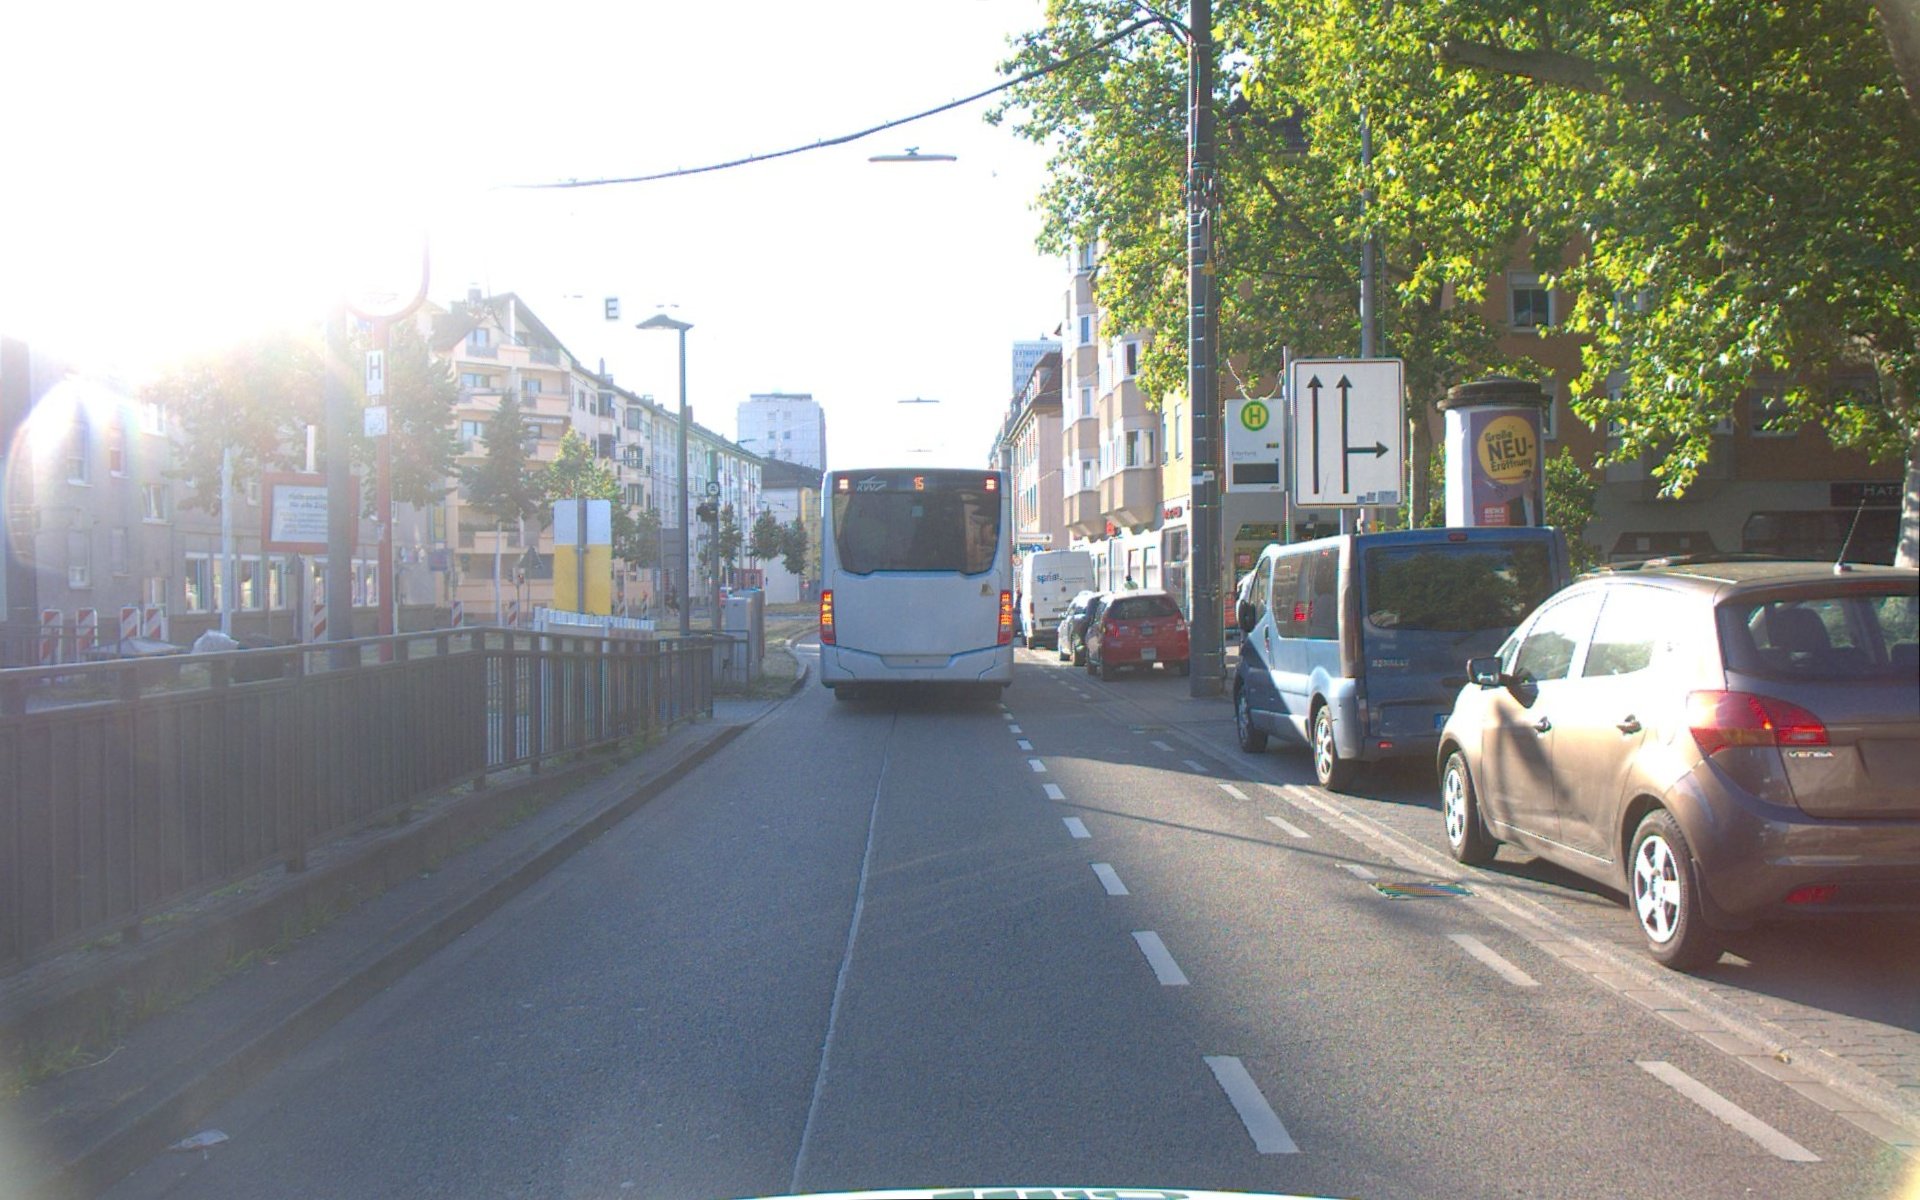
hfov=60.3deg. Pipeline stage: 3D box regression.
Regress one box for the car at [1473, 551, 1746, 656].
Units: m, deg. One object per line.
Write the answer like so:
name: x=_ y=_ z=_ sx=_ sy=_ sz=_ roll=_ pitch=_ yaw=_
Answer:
car: x=11.124 y=0.055 z=28.493 sx=3.941 sy=1.628 sz=1.855 roll=2 pitch=0 yaw=-3

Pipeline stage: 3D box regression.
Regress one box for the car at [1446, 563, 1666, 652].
car: x=11.082 y=0.129 z=30.916 sx=3.427 sy=1.508 sz=1.773 roll=2 pitch=0 yaw=-3

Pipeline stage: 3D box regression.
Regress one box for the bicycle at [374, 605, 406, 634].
bicycle: x=-23.760 y=0.808 z=68.954 sx=0.731 sy=1.134 sz=1.778 roll=-1 pitch=0 yaw=-1

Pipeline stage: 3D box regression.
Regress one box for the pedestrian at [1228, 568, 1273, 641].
pedestrian: x=6.829 y=0.097 z=38.925 sx=0.647 sy=1.664 sz=0.988 roll=-4 pitch=1 yaw=-8

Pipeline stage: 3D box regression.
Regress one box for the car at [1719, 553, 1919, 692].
car: x=11.313 y=0.210 z=19.354 sx=4.028 sy=1.521 sz=1.802 roll=-1 pitch=0 yaw=0

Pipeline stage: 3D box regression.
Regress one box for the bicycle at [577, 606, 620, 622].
bicycle: x=-17.947 y=0.712 z=82.137 sx=2.027 sy=0.745 sz=0.760 roll=-1 pitch=0 yaw=-12

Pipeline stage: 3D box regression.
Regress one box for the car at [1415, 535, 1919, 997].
car: x=3.672 y=0.577 z=8.000 sx=1.759 sy=1.659 sz=3.999 roll=-1 pitch=0 yaw=-1

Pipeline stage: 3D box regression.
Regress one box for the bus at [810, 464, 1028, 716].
bus: x=-0.578 y=-0.155 z=24.974 sx=2.683 sy=3.109 sz=8.852 roll=0 pitch=0 yaw=-1

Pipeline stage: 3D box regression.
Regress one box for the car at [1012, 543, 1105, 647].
car: x=2.684 y=-0.149 z=46.316 sx=1.976 sy=2.595 sz=5.783 roll=-4 pitch=0 yaw=-1

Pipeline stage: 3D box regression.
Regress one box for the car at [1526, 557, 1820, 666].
car: x=11.071 y=0.160 z=25.868 sx=3.761 sy=1.521 sz=1.856 roll=2 pitch=0 yaw=0

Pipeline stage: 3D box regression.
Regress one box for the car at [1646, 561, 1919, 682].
car: x=11.264 y=0.255 z=21.701 sx=3.761 sy=1.461 sz=1.803 roll=1 pitch=2 yaw=0

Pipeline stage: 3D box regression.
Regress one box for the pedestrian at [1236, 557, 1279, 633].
pedestrian: x=7.262 y=-0.129 z=40.415 sx=0.790 sy=1.782 sz=0.768 roll=-4 pitch=1 yaw=-1

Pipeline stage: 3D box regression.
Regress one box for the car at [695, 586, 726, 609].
car: x=-22.555 y=-0.258 z=149.654 sx=1.952 sy=2.049 sz=4.002 roll=-1 pitch=0 yaw=3

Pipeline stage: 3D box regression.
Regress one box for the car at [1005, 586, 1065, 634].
car: x=2.561 y=0.310 z=57.421 sx=1.801 sy=1.563 sz=4.229 roll=-1 pitch=0 yaw=-1

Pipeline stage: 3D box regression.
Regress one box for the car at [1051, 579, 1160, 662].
car: x=3.068 y=0.406 z=35.738 sx=1.663 sy=1.557 sz=4.650 roll=-4 pitch=0 yaw=-3

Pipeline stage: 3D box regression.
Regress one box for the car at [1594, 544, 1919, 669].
car: x=11.304 y=0.086 z=23.634 sx=3.761 sy=1.660 sz=1.856 roll=1 pitch=0 yaw=0

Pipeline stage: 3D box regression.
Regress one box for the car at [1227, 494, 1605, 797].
car: x=3.607 y=0.303 z=14.017 sx=1.846 sy=2.115 sz=4.562 roll=-1 pitch=0 yaw=-1

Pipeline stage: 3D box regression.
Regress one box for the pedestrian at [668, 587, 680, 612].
pedestrian: x=-23.680 y=-0.034 z=136.964 sx=0.871 sy=2.049 sz=0.788 roll=-1 pitch=0 yaw=-7

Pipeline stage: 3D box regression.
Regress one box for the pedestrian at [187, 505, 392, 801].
pedestrian: x=-3.732 y=0.284 z=9.279 sx=0.899 sy=1.577 sz=0.787 roll=0 pitch=0 yaw=-10

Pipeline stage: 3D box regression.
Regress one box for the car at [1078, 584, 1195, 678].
car: x=3.125 y=0.514 z=29.868 sx=1.538 sy=1.520 sz=3.624 roll=-3 pitch=0 yaw=-2

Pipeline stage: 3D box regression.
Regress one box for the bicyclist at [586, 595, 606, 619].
bicyclist: x=-18.073 y=0.360 z=82.113 sx=0.916 sy=1.181 sz=0.642 roll=-1 pitch=0 yaw=-12
